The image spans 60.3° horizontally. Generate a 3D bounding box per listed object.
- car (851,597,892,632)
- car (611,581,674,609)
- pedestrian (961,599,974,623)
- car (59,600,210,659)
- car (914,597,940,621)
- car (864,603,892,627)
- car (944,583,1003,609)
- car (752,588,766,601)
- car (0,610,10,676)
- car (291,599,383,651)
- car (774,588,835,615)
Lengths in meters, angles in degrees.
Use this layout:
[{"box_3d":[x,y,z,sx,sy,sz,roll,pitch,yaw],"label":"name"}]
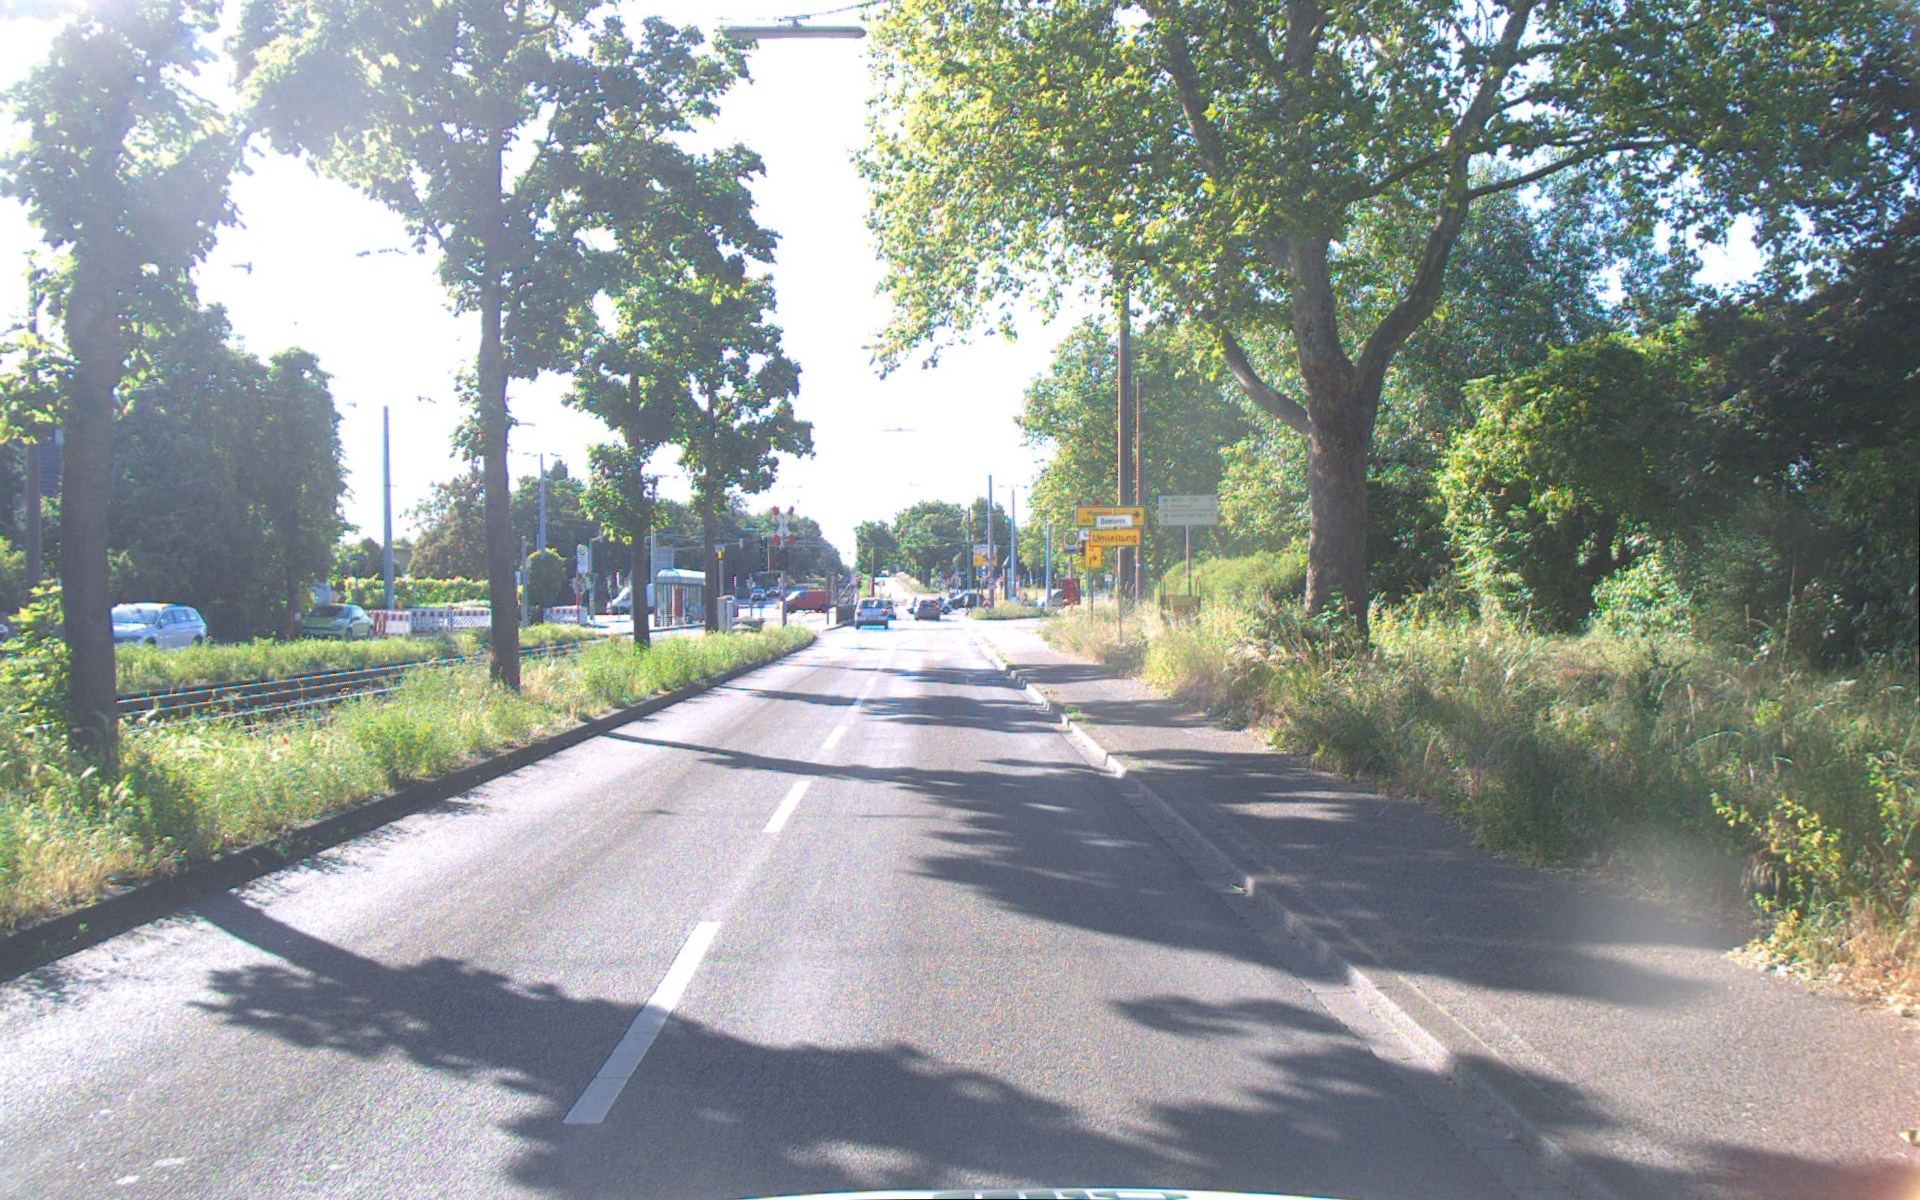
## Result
[{"box_3d":[-4.221,0.697,79.437,1.822,1.629,4.226,1,0,-2],"label":"car"},{"box_3d":[-28.357,-0.479,147.800,5.178,2.396,1.851,1,-1,-26],"label":"car"},{"box_3d":[0.601,0.829,127.861,0.907,1.867,0.638,1,-1,3],"label":"pedestrian"},{"box_3d":[-21.719,0.751,43.741,1.822,1.456,4.460,1,0,-2],"label":"car"},{"box_3d":[-2.269,0.641,114.379,1.755,1.586,4.226,1,0,-2],"label":"car"},{"box_3d":[-5.901,1.081,119.454,1.953,1.631,4.472,1,0,-2],"label":"car"},{"box_3d":[1.242,-0.325,152.866,5.083,2.315,1.985,1,0,-26],"label":"car"},{"box_3d":[-25.583,-0.725,210.555,1.757,1.586,4.222,1,0,-6],"label":"car"},{"box_3d":[-21.527,0.905,33.846,1.822,1.438,4.157,1,0,-2],"label":"car"},{"box_3d":[-22.108,0.870,58.867,1.742,1.737,4.226,1,0,-2],"label":"car"},{"box_3d":[-14.114,0.146,150.064,5.083,2.315,1.985,1,0,-26],"label":"car"}]
